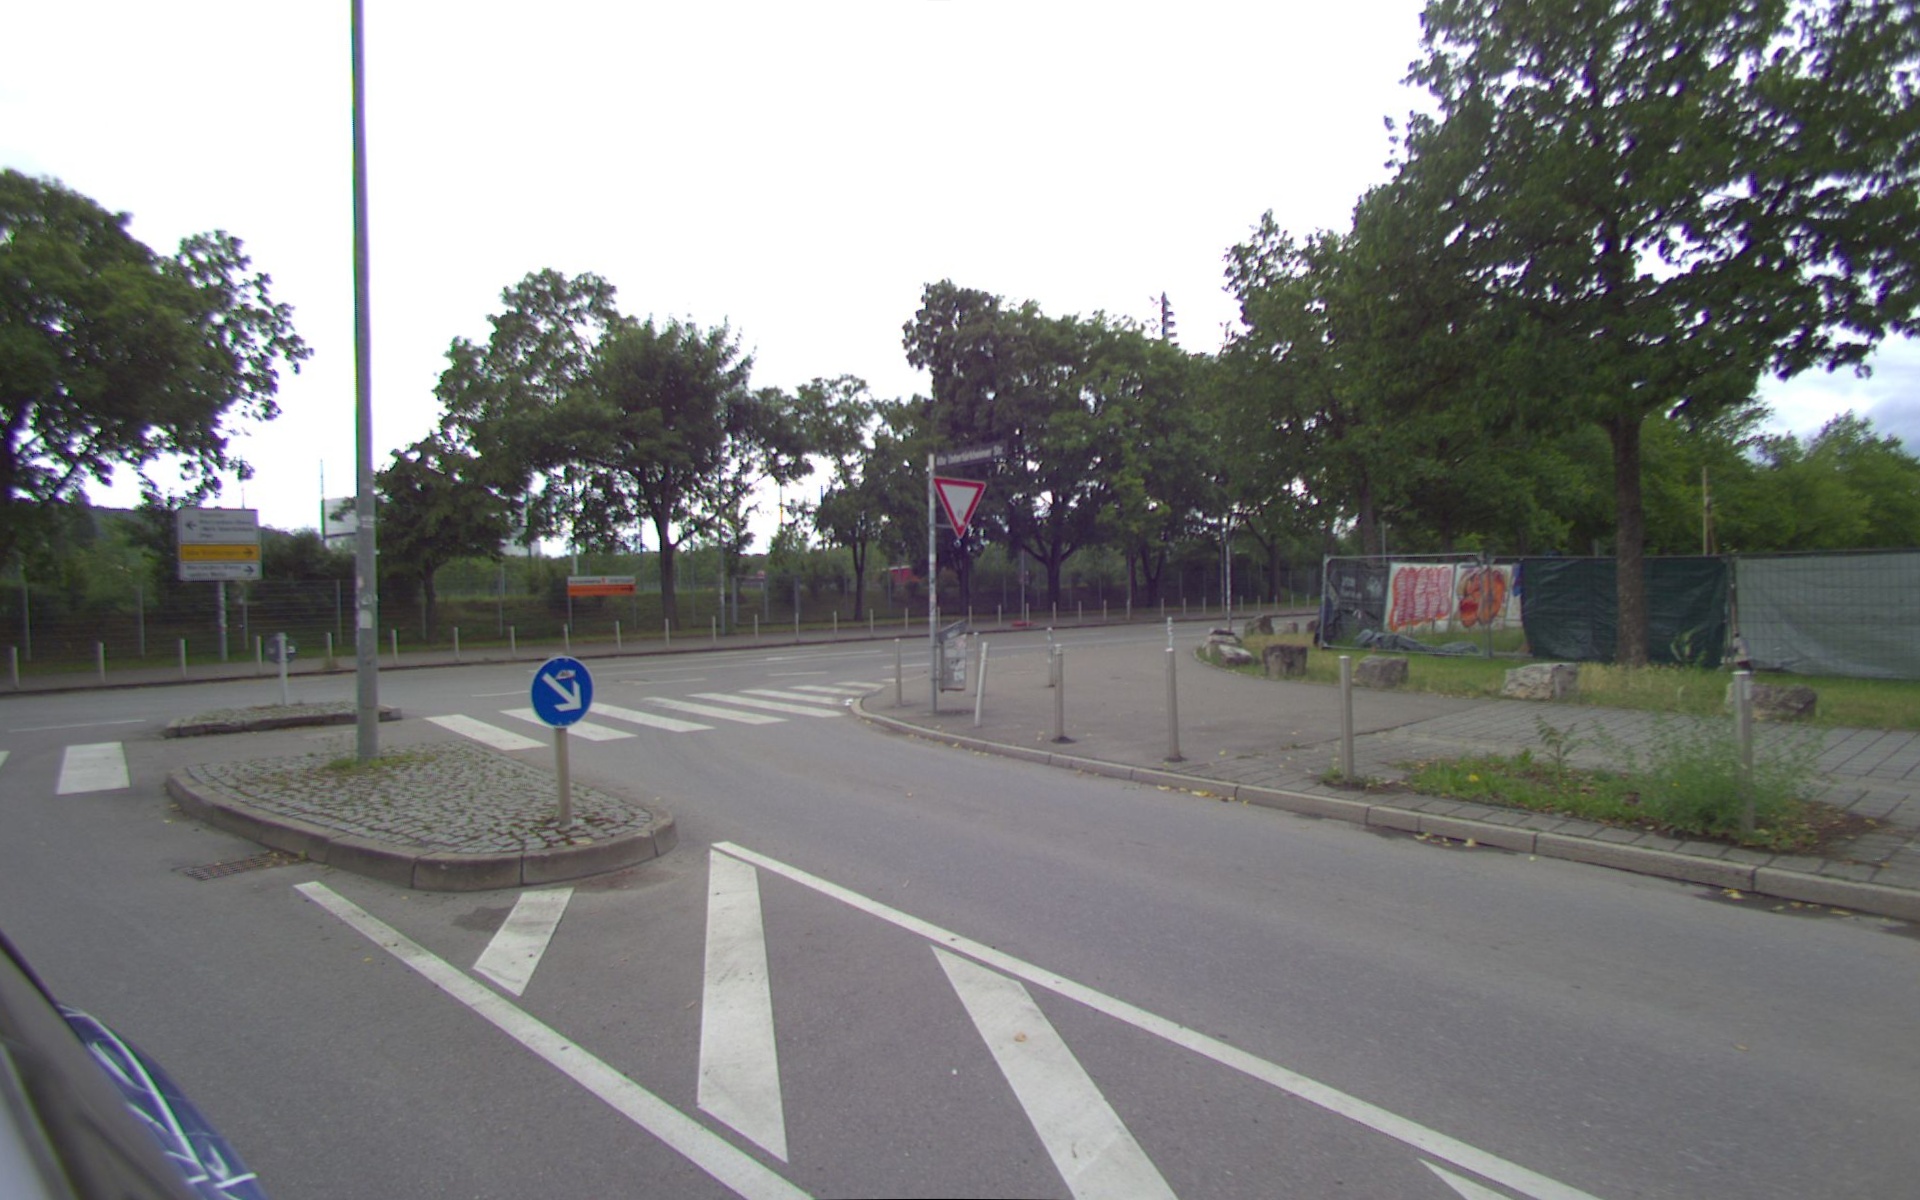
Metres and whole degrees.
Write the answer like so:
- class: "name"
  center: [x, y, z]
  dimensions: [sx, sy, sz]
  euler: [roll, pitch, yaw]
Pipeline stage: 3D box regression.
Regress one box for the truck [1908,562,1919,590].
- class: "truck"
  center: [131.407, -3.306, 137.476]
  dimensions: [7.799, 3.586, 2.686]
  euler: [-1, -3, -40]
